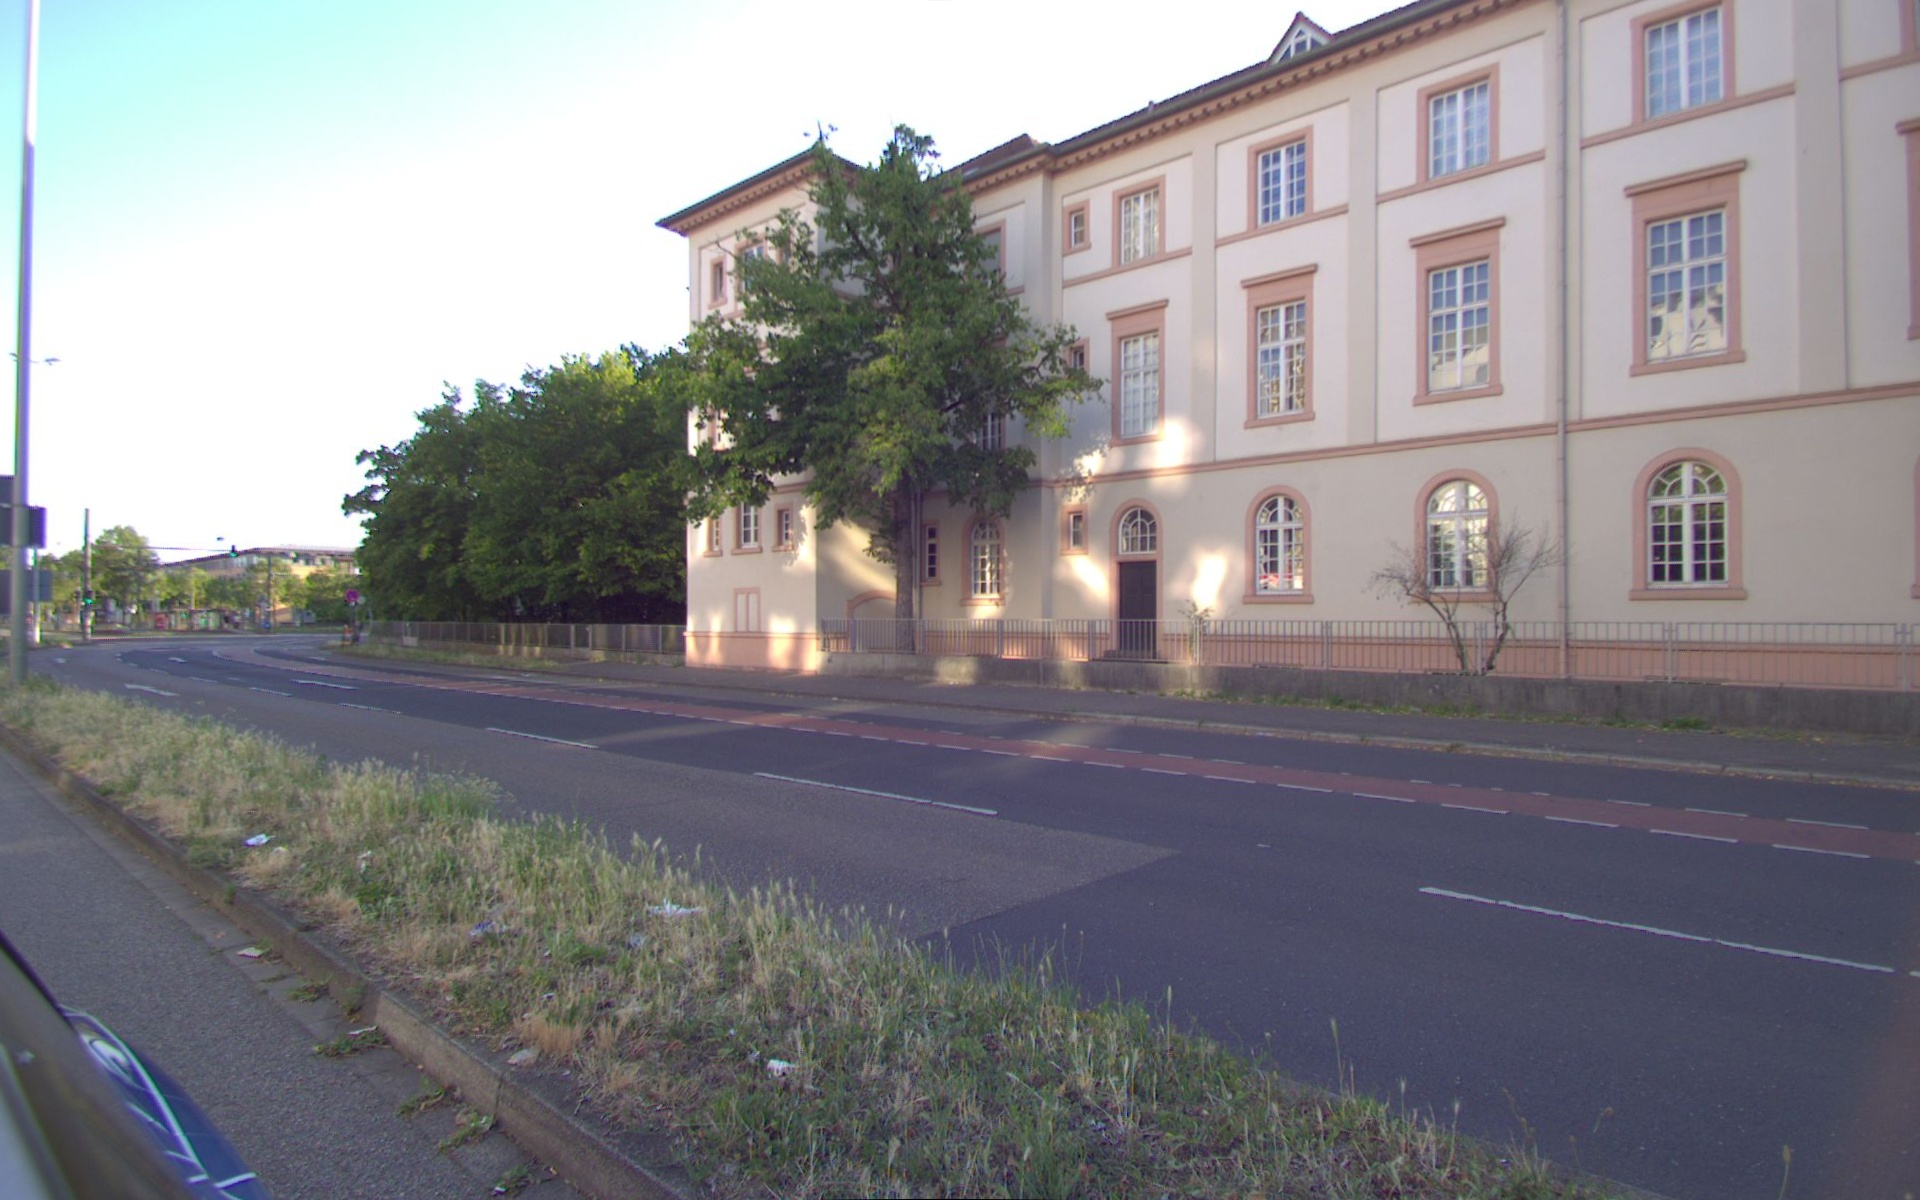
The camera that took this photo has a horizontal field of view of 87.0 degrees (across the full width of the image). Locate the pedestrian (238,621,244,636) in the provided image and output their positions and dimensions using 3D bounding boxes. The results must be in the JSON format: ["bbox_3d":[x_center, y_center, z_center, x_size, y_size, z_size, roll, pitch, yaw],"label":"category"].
[{"bbox_3d":[-81.233,3.215,114.289,0.419,1.718,0.461,-1,-2,41],"label":"pedestrian"}]

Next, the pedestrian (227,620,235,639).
[{"bbox_3d":[-81.666,3.311,113.336,0.664,2.029,0.549,-1,-2,41],"label":"pedestrian"}]
